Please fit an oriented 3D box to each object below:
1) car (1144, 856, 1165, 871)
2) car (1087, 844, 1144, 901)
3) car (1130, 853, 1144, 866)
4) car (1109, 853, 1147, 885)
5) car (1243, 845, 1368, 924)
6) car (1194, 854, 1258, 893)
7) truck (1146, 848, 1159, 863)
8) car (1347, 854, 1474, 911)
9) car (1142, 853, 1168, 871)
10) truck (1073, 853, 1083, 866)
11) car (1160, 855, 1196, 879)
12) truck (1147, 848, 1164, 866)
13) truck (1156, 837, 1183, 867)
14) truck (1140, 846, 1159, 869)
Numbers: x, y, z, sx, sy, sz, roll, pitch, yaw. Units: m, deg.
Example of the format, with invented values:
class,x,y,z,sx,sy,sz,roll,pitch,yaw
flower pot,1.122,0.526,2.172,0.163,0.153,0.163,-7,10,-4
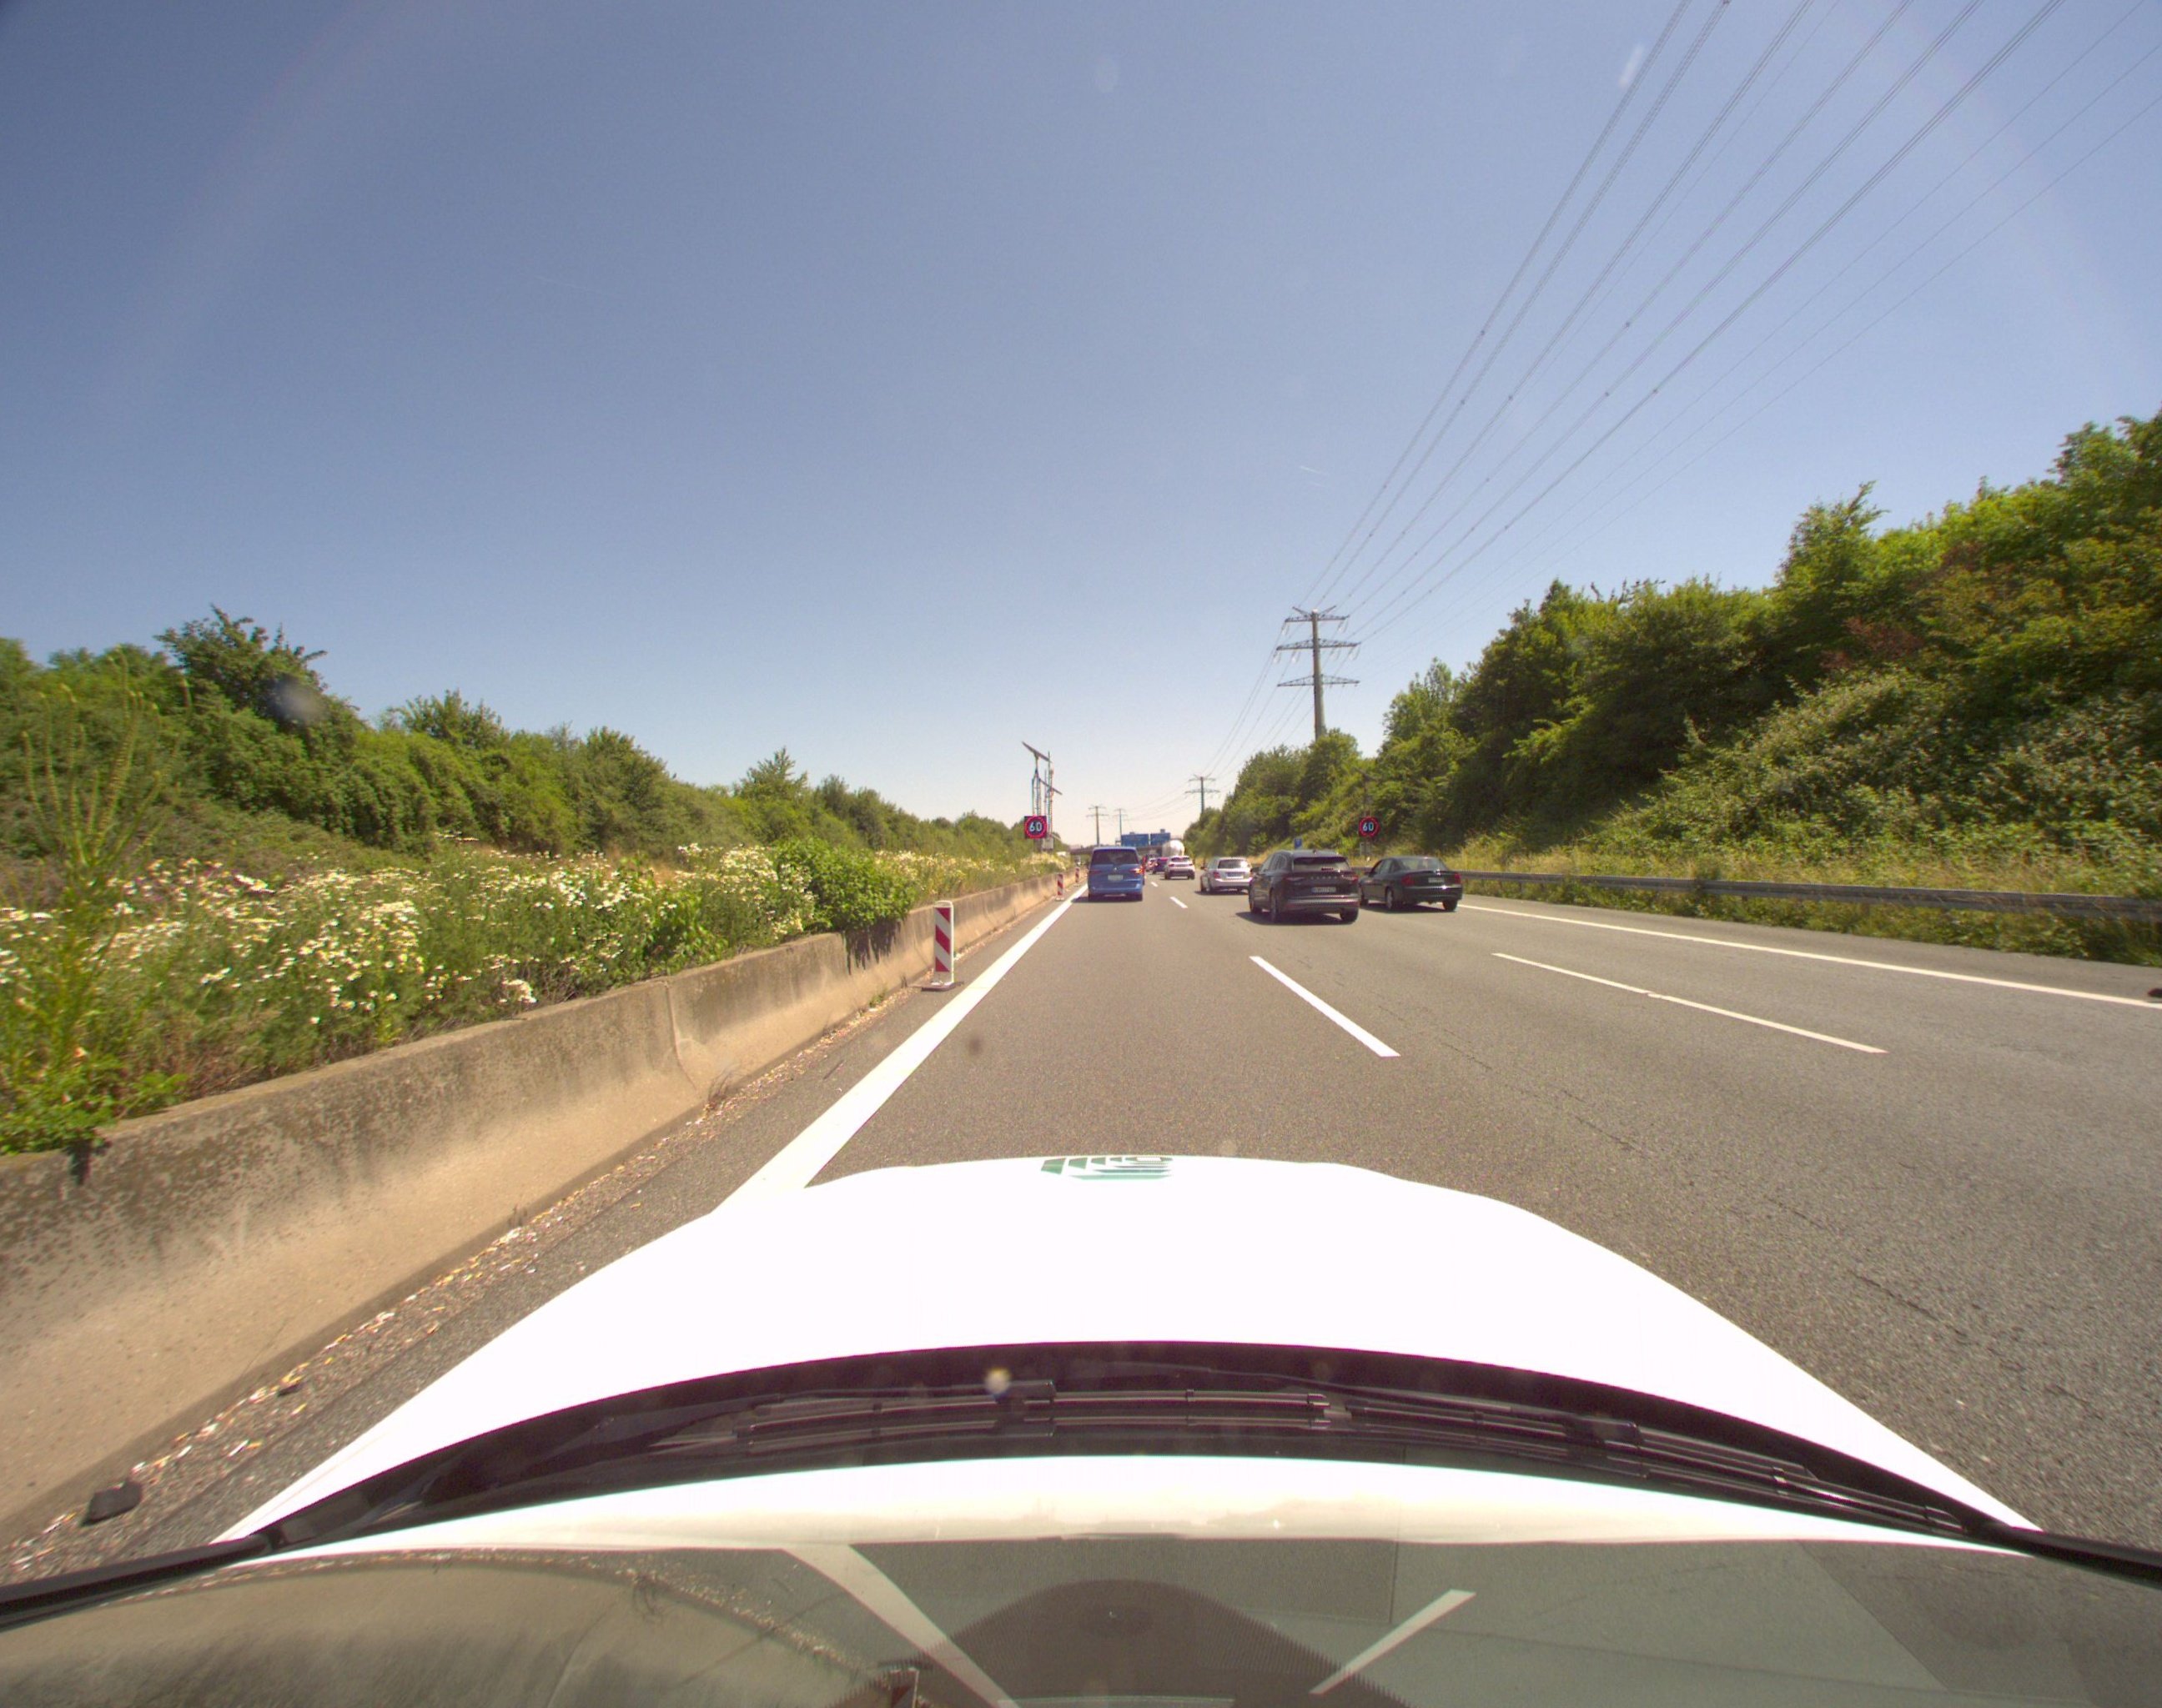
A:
class,x,y,z,sx,sy,sz,roll,pitch,yaw
car,7.604,0.999,84.565,1.902,1.516,4.383,0,0,1
car,1.161,0.620,29.285,1.865,1.879,4.383,0,0,0
car,8.789,0.850,127.601,1.986,2.014,4.001,0,0,1
car,2.503,0.793,44.329,1.901,1.631,4.384,-1,0,1
car,5.121,0.637,19.178,1.821,1.614,4.432,-1,0,2
car,5.738,0.737,32.643,1.815,1.437,4.383,0,0,1
truck,20.631,0.429,235.365,2.927,4.291,12.555,0,0,1
car,8.682,0.705,21.883,1.728,1.378,4.302,0,0,1
car,6.448,0.687,71.460,1.902,1.516,4.383,0,0,1
truck,-0.916,1.622,260.459,2.752,3.888,9.033,-4,0,2
car,6.359,0.806,53.762,1.902,1.508,3.921,0,0,0
truck,14.696,0.603,161.440,2.635,3.539,12.555,0,0,1
truck,12.760,-0.237,119.026,2.635,4.072,16.445,0,0,2
truck,8.334,0.402,99.335,1.986,2.723,5.681,0,0,1
